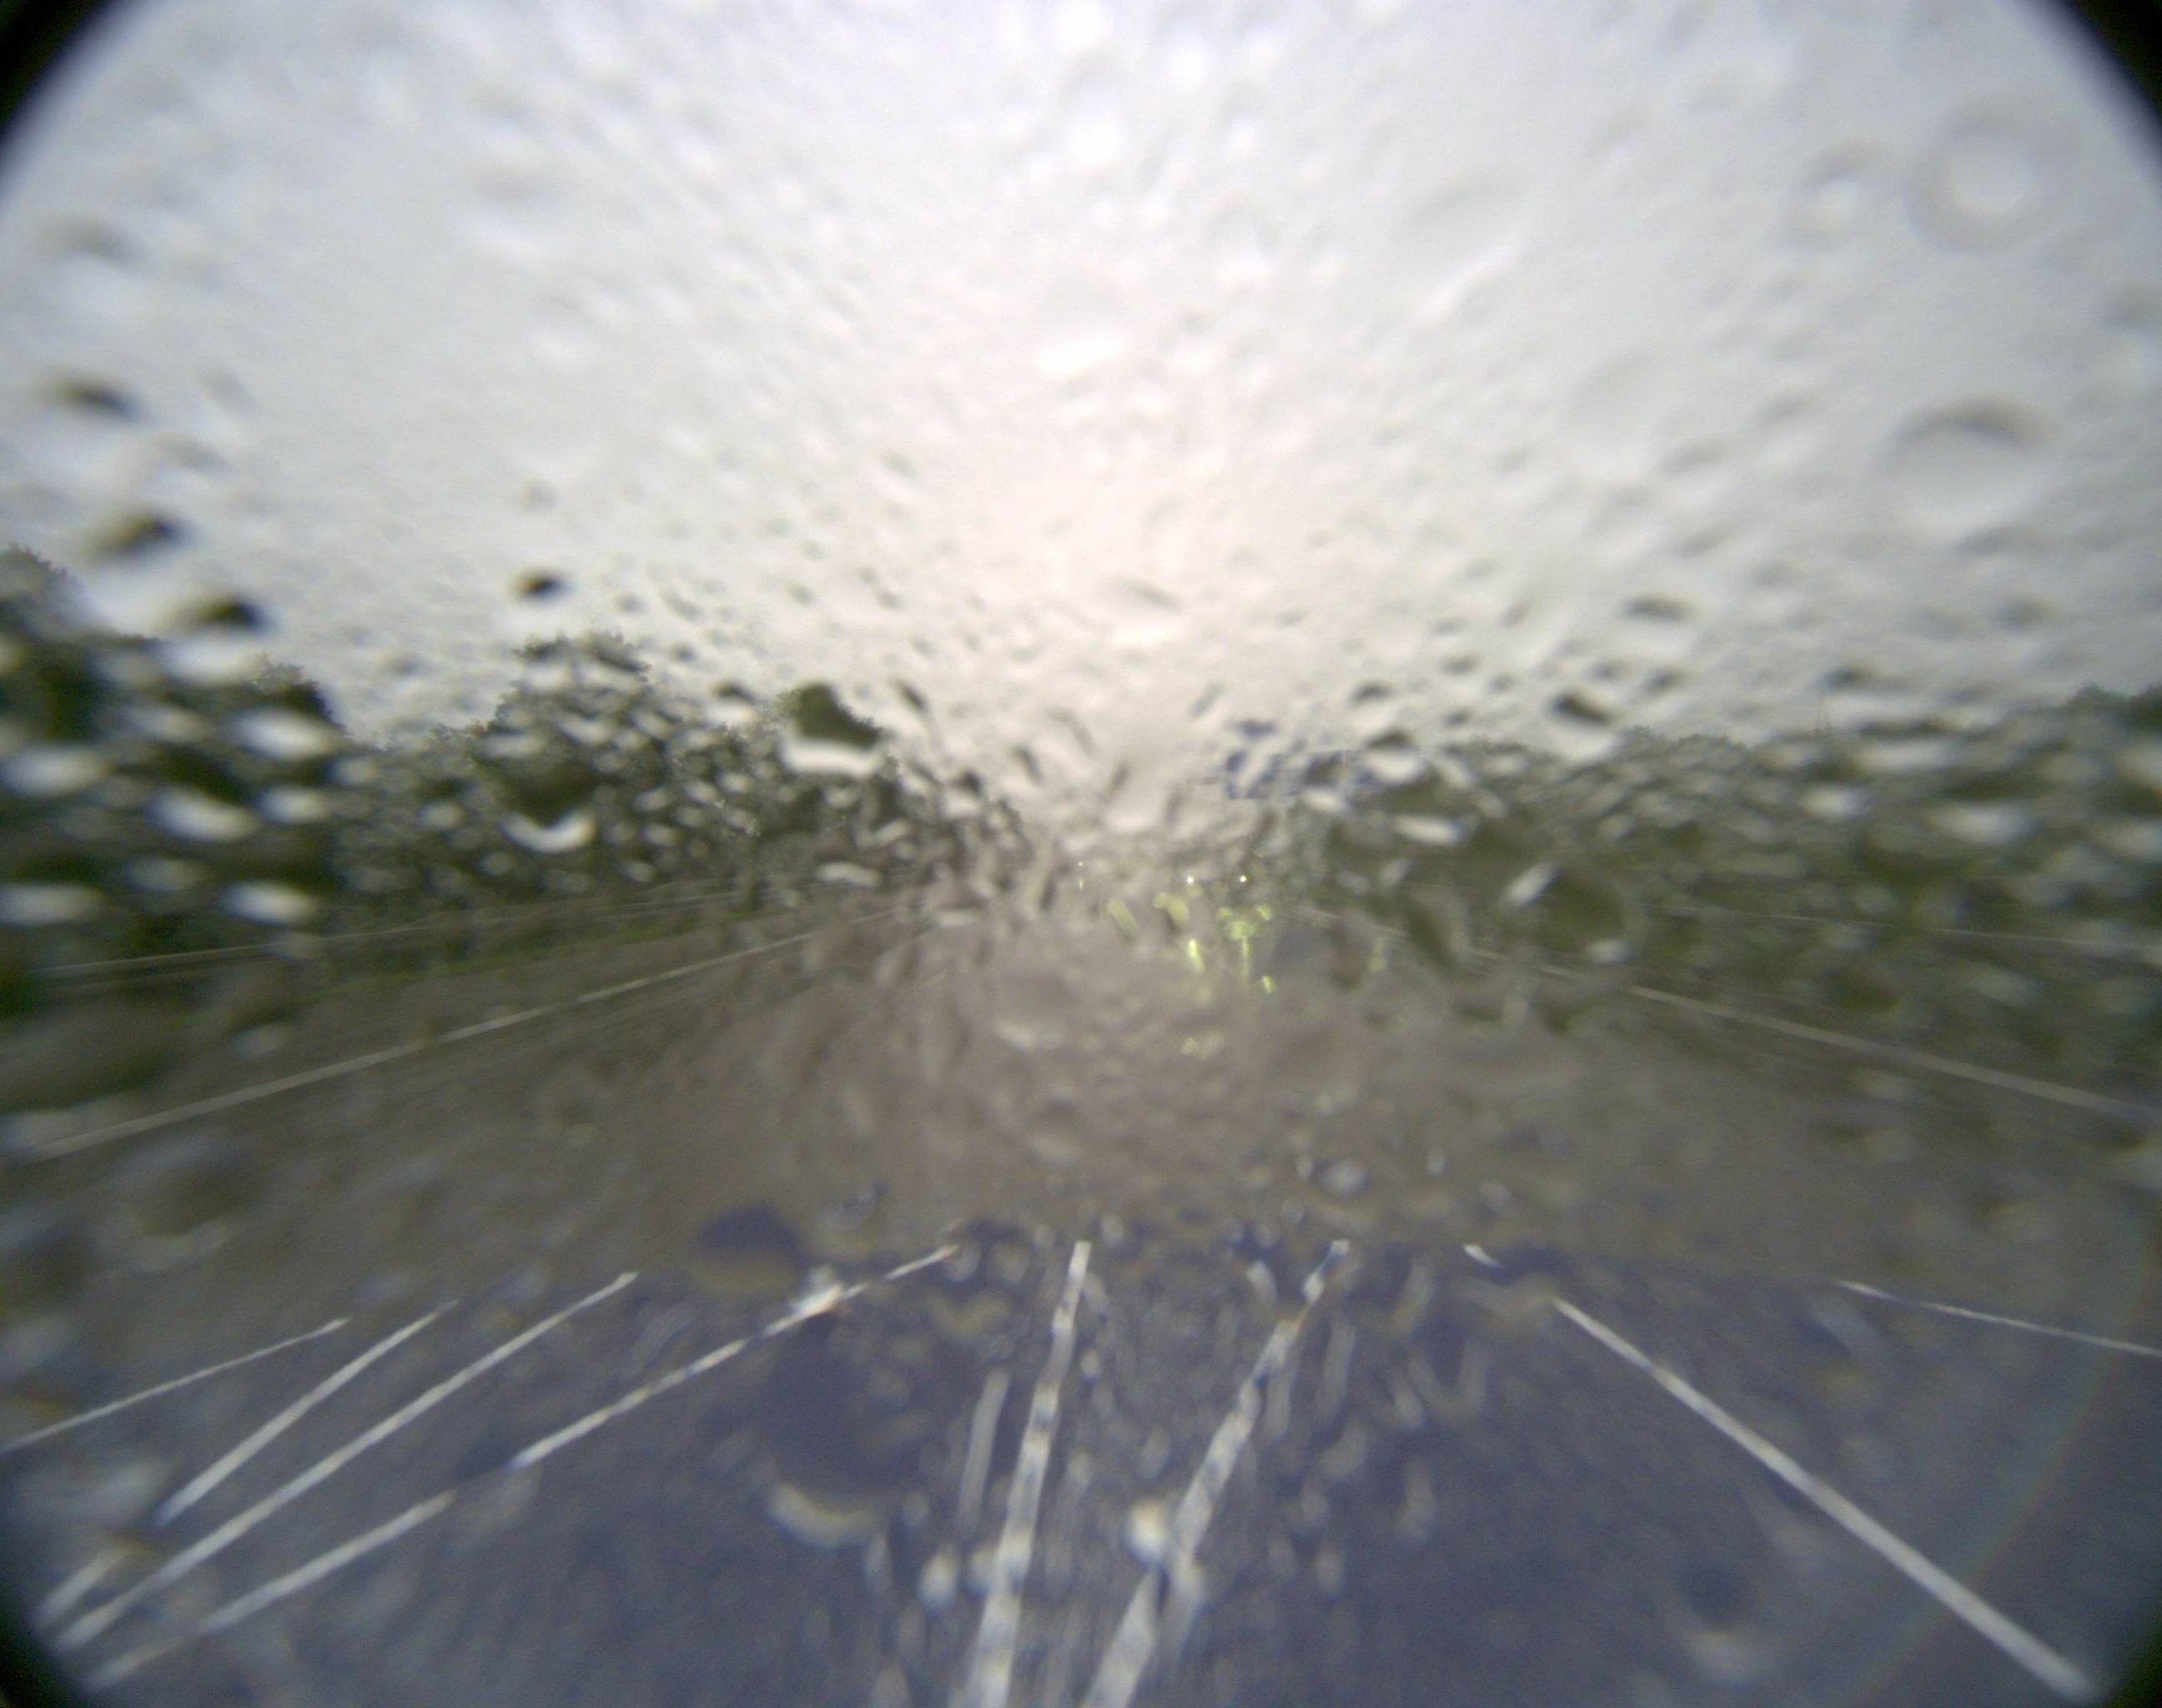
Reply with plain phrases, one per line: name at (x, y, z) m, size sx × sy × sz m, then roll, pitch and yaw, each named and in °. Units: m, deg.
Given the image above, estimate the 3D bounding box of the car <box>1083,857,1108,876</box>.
car at (1.172, 0.987, 60.008) m, size 1.752 × 1.406 × 4.001 m, roll -1°, pitch 0°, yaw 5°

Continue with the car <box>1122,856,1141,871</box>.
car at (5.011, 0.894, 74.633) m, size 1.752 × 1.369 × 4.001 m, roll -1°, pitch 0°, yaw 5°

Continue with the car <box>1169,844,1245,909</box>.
car at (3.745, 0.625, 23.238) m, size 2.046 × 1.763 × 4.502 m, roll -1°, pitch 0°, yaw 7°

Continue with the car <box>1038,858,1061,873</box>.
car at (-3.046, 1.096, 74.244) m, size 1.752 × 1.205 × 4.001 m, roll -5°, pitch 0°, yaw 5°

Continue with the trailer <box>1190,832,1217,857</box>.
trailer at (19.877, -1.434, 123.922) m, size 2.338 × 3.700 × 13.931 m, roll -5°, pitch 0°, yaw 2°

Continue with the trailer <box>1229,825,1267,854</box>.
trailer at (24.163, -1.976, 110.454) m, size 2.932 × 3.734 × 13.543 m, roll -5°, pitch 0°, yaw 3°

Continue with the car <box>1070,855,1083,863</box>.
car at (-0.676, 0.836, 127.134) m, size 1.752 × 1.205 × 4.001 m, roll -5°, pitch 0°, yaw 5°
